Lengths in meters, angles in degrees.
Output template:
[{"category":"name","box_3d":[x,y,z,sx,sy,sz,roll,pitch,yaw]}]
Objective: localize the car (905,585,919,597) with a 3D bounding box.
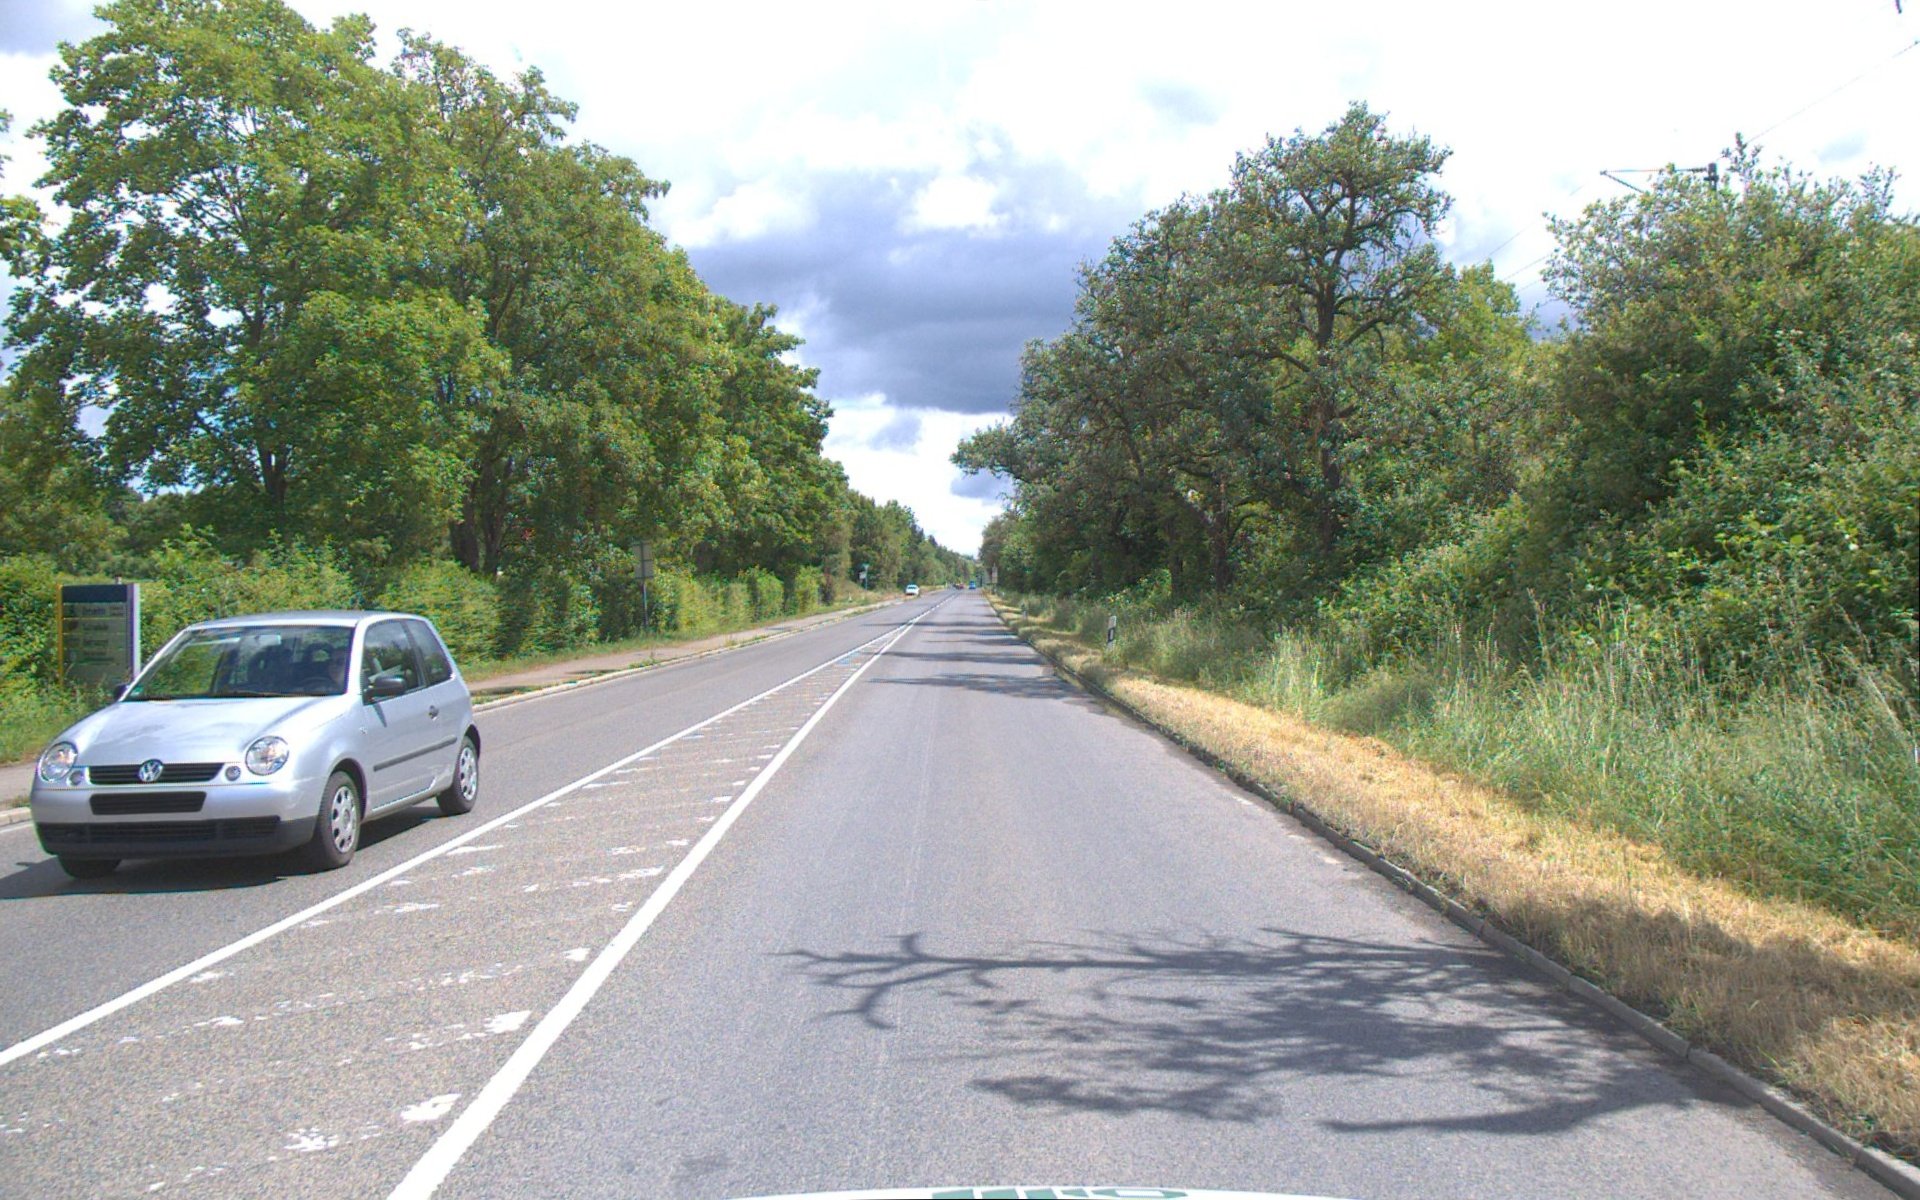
[{"category":"car","box_3d":[-6.572,-1.208,226.008,1.761,1.570,3.955,-1,-1,1]}]

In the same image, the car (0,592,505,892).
[{"category":"car","box_3d":[-4.245,0.730,10.443,1.626,1.457,3.693,-2,1,1]}]
